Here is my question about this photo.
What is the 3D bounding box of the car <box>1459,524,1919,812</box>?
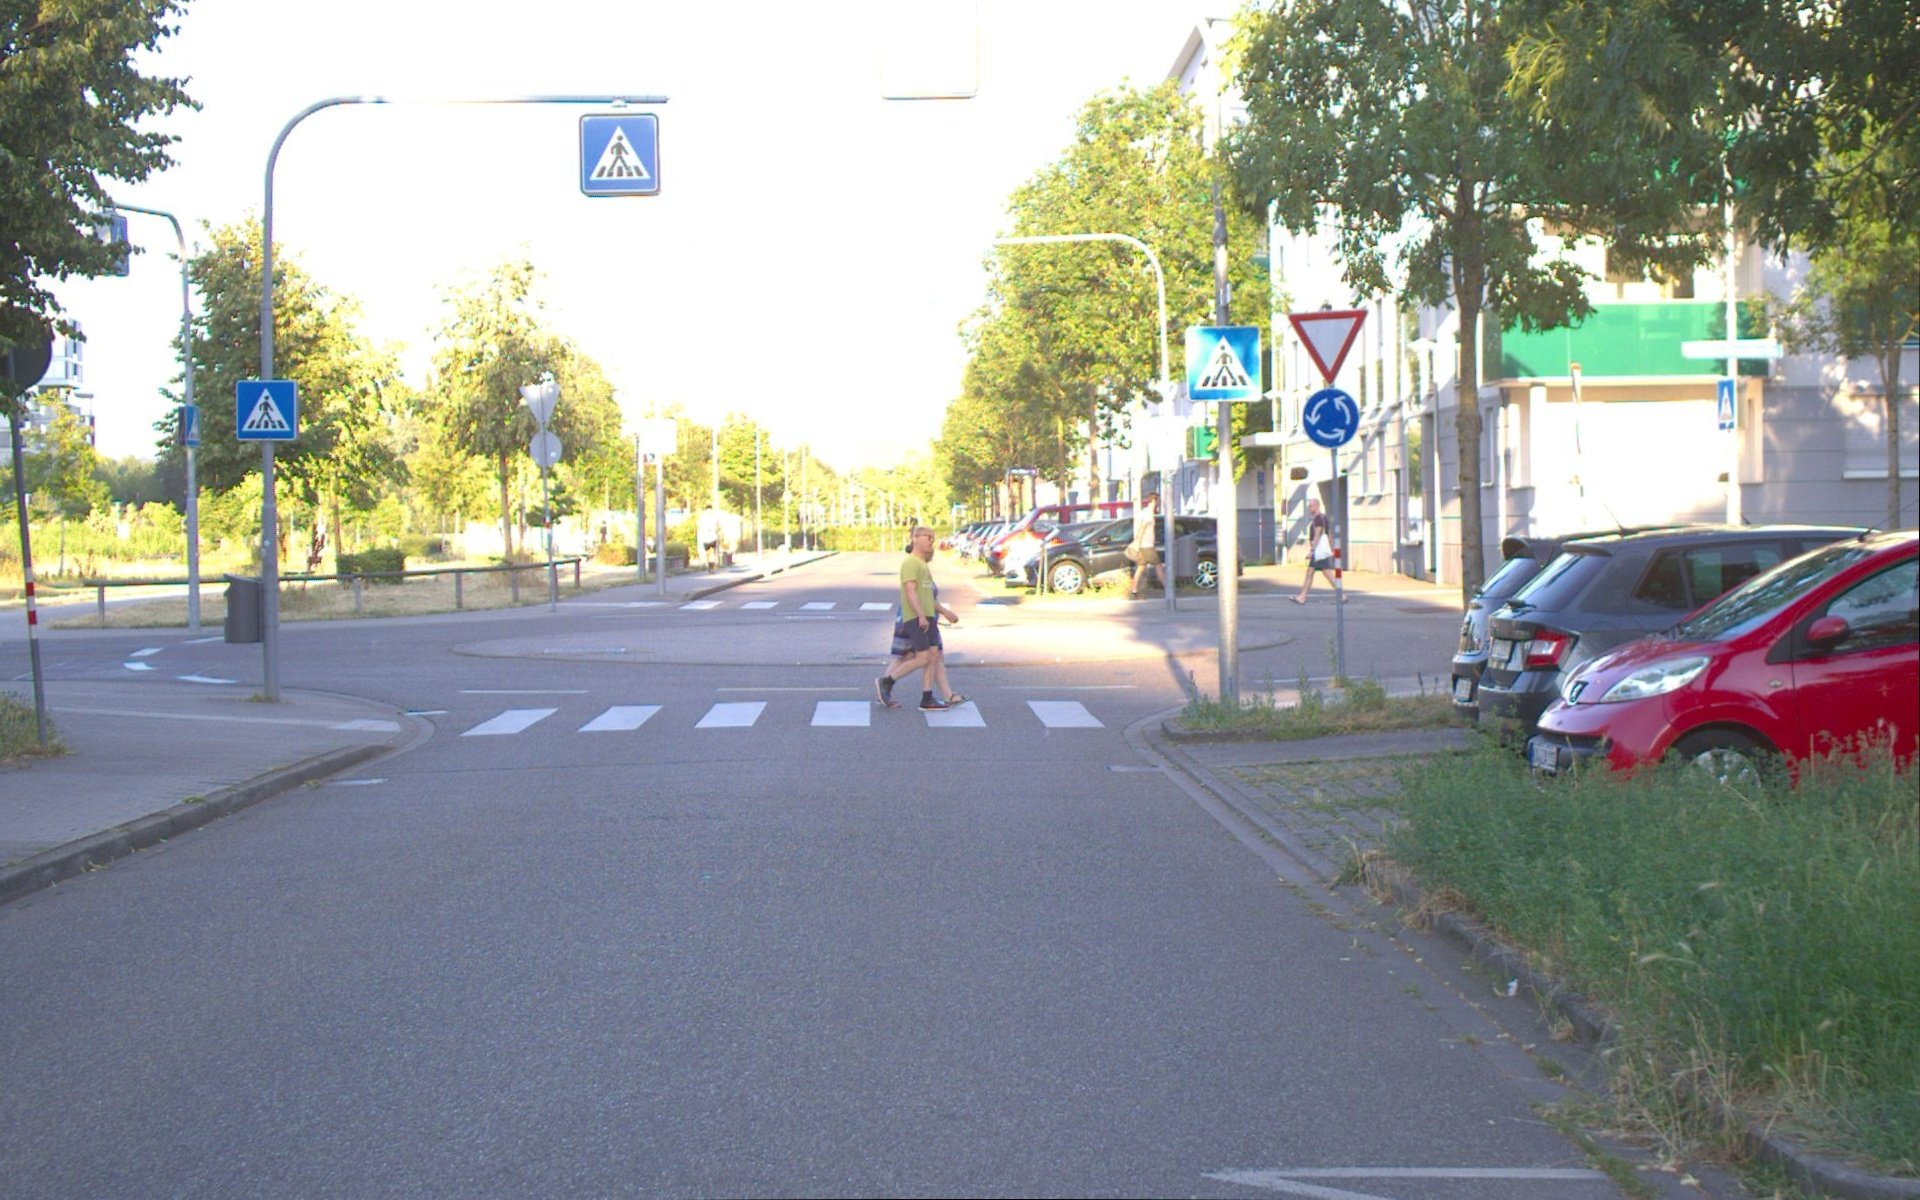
[{"bbox_3d":[4.871,0.338,19.400,3.802,1.503,1.679,-1,1,-3],"label":"car"}]

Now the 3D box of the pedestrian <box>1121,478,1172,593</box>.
[{"bbox_3d":[3.286,-1.137,60.586,0.846,2.007,0.943,-1,1,5],"label":"pedestrian"}]

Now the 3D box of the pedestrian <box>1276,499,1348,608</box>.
[{"bbox_3d":[5.796,-0.766,56.639,1.003,1.782,0.762,0,1,-7],"label":"pedestrian"}]

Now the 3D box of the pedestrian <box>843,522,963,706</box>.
[{"bbox_3d":[-0.542,0.119,32.282,0.983,1.687,0.700,-1,1,-12],"label":"pedestrian"}]

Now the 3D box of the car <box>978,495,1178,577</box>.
[{"bbox_3d":[3.077,-1.690,90.429,5.002,2.038,2.251,-1,1,-5],"label":"car"}]

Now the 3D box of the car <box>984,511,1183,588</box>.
[{"bbox_3d":[2.679,-1.107,75.148,4.263,1.590,2.000,-1,1,1],"label":"car"}]

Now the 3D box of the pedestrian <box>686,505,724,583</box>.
[{"bbox_3d":[-6.693,-1.473,90.135,0.866,2.007,0.790,-1,1,-11],"label":"pedestrian"}]

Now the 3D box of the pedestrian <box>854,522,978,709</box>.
[{"bbox_3d":[-0.410,0.129,31.597,1.018,1.687,0.760,0,1,-12],"label":"pedestrian"}]

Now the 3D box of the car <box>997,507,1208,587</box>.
[{"bbox_3d":[2.972,-1.120,72.415,4.355,1.590,2.000,-1,1,1],"label":"car"}]

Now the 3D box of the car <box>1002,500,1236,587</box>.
[{"bbox_3d":[3.077,-1.111,67.234,4.484,1.590,2.000,-1,1,1],"label":"car"}]

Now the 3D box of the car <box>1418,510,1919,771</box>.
[{"bbox_3d":[4.988,0.220,22.050,3.802,1.503,1.679,-2,2,-2],"label":"car"}]

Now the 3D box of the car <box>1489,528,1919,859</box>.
[{"bbox_3d":[4.665,0.404,16.904,3.802,1.503,1.679,-1,1,-3],"label":"car"}]

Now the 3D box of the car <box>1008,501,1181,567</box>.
[{"bbox_3d":[3.393,-1.686,87.374,4.263,1.590,2.000,-1,1,-1],"label":"car"}]
